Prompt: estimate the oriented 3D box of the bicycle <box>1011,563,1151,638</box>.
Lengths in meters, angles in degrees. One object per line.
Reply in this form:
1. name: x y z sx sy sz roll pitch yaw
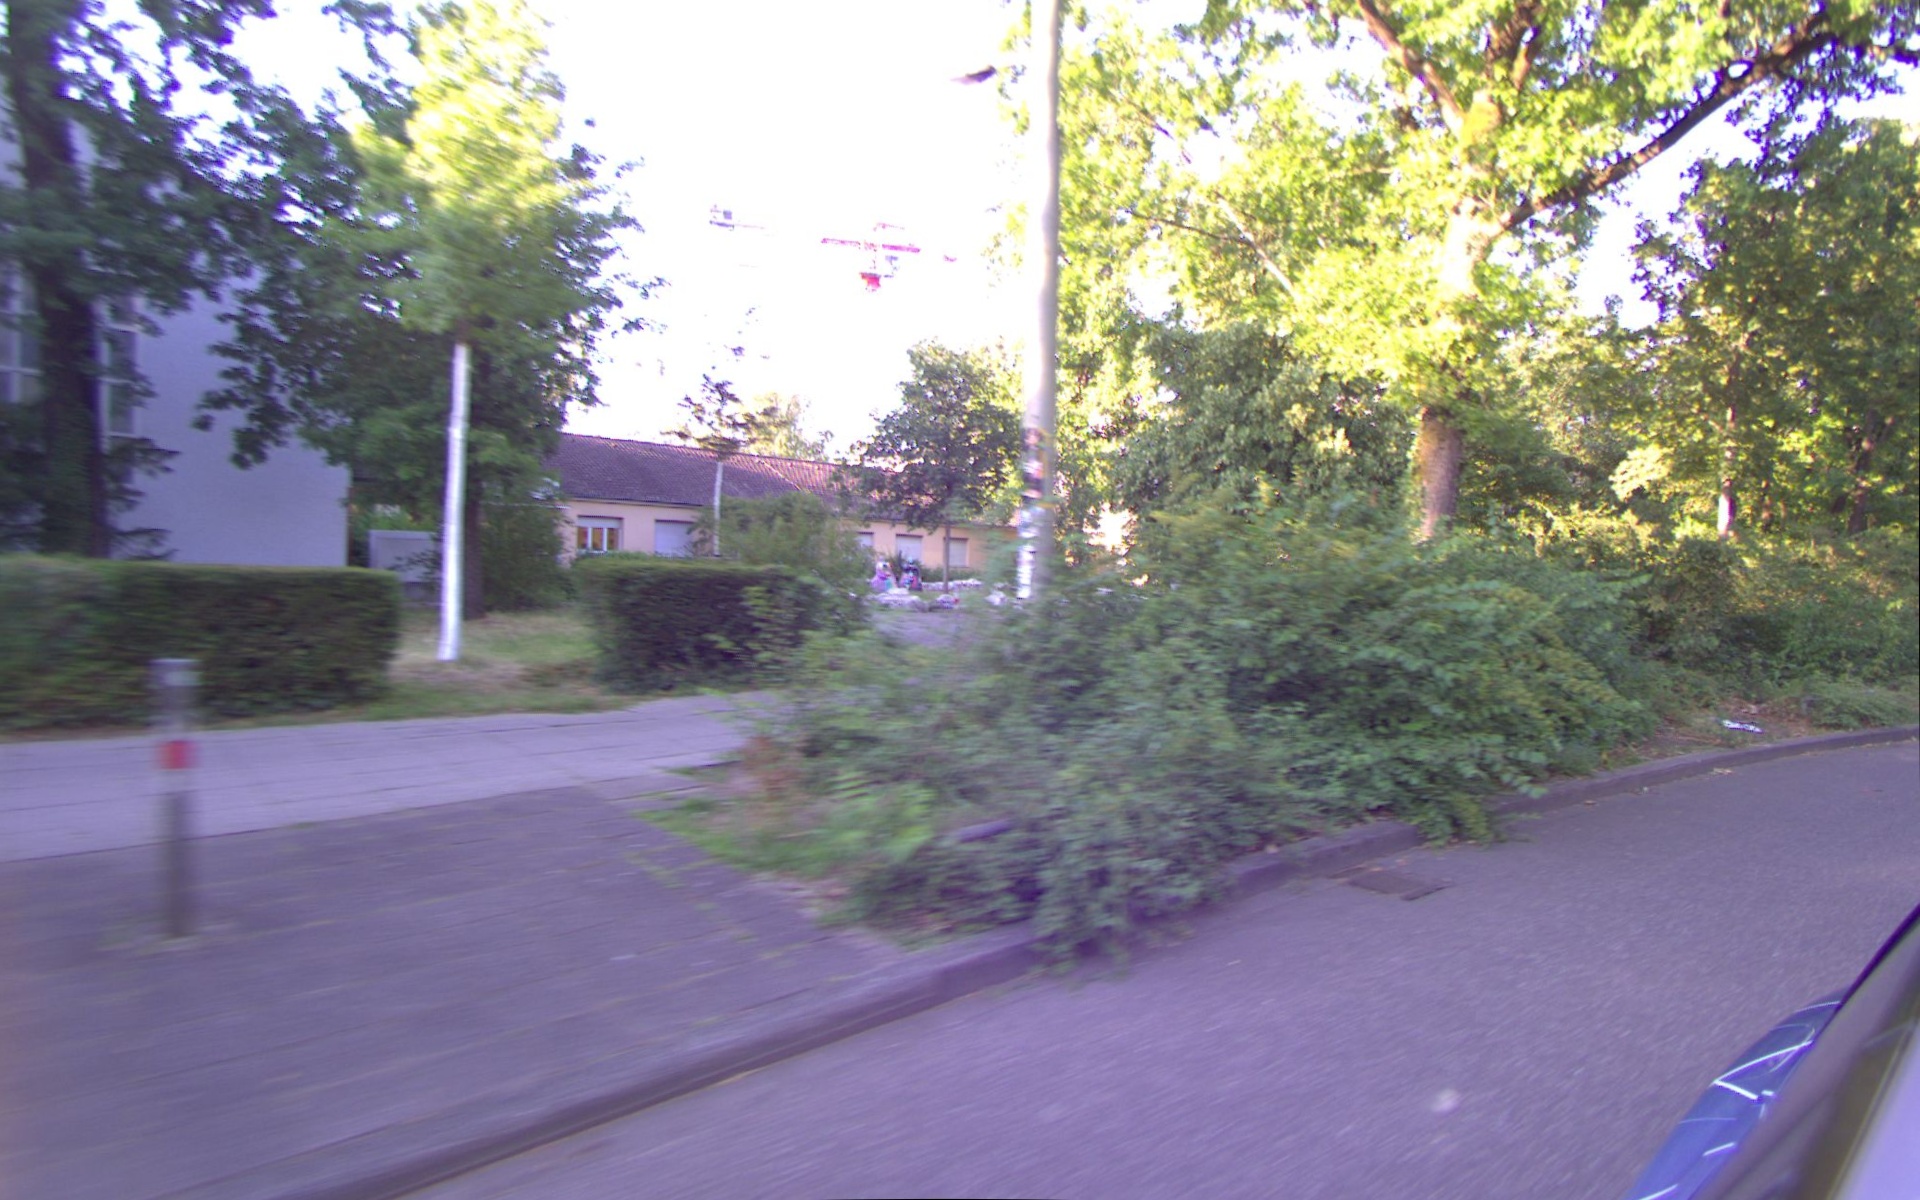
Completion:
1. bicycle: 2.161 -0.027 18.319 2.435 1.236 0.742 3 2 35
